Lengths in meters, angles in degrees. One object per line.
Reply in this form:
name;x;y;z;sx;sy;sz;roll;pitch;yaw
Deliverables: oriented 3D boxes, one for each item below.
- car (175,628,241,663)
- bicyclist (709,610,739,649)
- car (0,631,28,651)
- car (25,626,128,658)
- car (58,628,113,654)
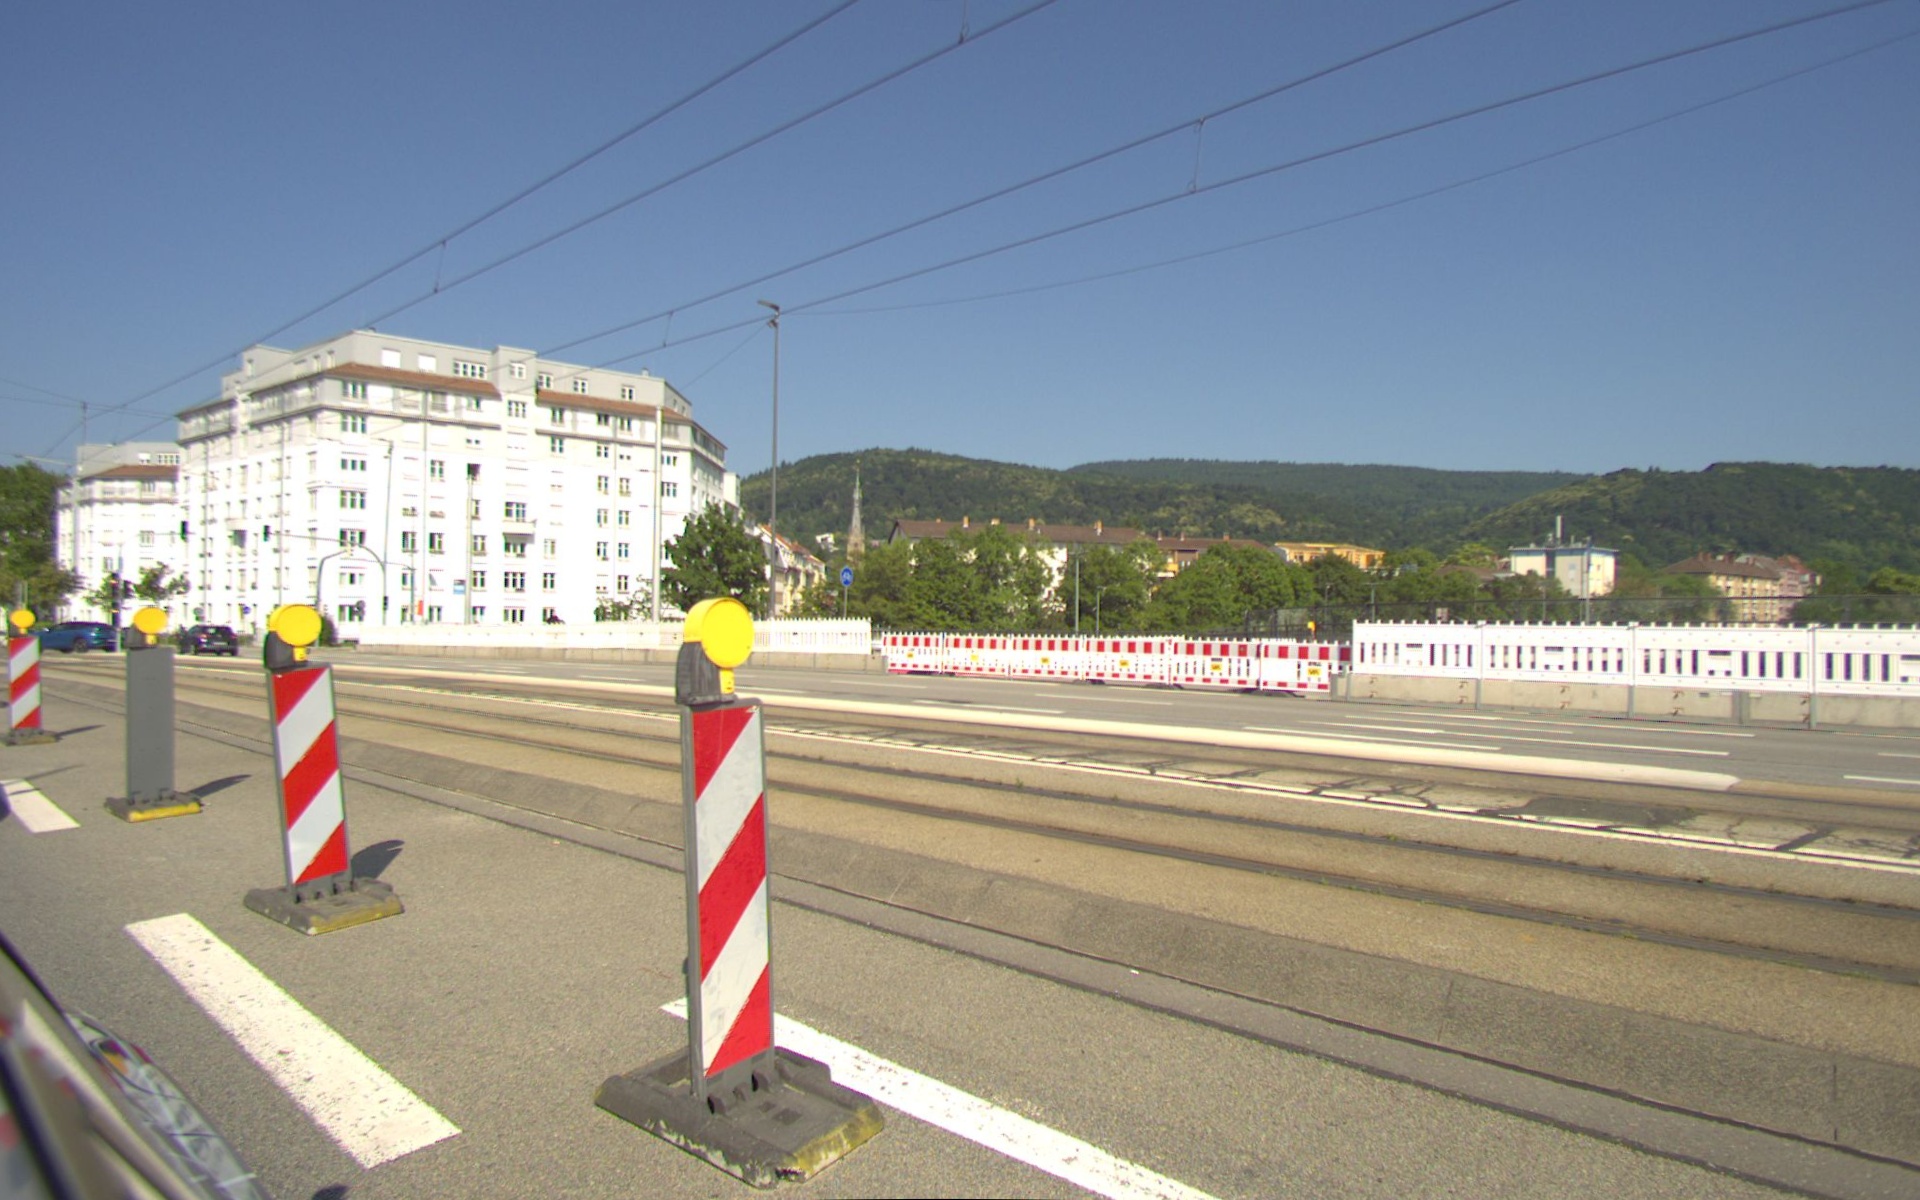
car;-34.871;2.074;46.908;4.000;1.497;1.777;-1;-1;43
bicyclist;-9.397;1.168;40.269;0.817;1.530;0.847;0;0;40
car;-74.230;3.166;78.599;3.994;1.497;2.014;0;-1;38
car;-44.939;2.141;51.526;3.960;1.497;2.032;-2;-1;13
car;-55.885;2.610;64.677;3.996;1.497;2.013;0;-1;40
